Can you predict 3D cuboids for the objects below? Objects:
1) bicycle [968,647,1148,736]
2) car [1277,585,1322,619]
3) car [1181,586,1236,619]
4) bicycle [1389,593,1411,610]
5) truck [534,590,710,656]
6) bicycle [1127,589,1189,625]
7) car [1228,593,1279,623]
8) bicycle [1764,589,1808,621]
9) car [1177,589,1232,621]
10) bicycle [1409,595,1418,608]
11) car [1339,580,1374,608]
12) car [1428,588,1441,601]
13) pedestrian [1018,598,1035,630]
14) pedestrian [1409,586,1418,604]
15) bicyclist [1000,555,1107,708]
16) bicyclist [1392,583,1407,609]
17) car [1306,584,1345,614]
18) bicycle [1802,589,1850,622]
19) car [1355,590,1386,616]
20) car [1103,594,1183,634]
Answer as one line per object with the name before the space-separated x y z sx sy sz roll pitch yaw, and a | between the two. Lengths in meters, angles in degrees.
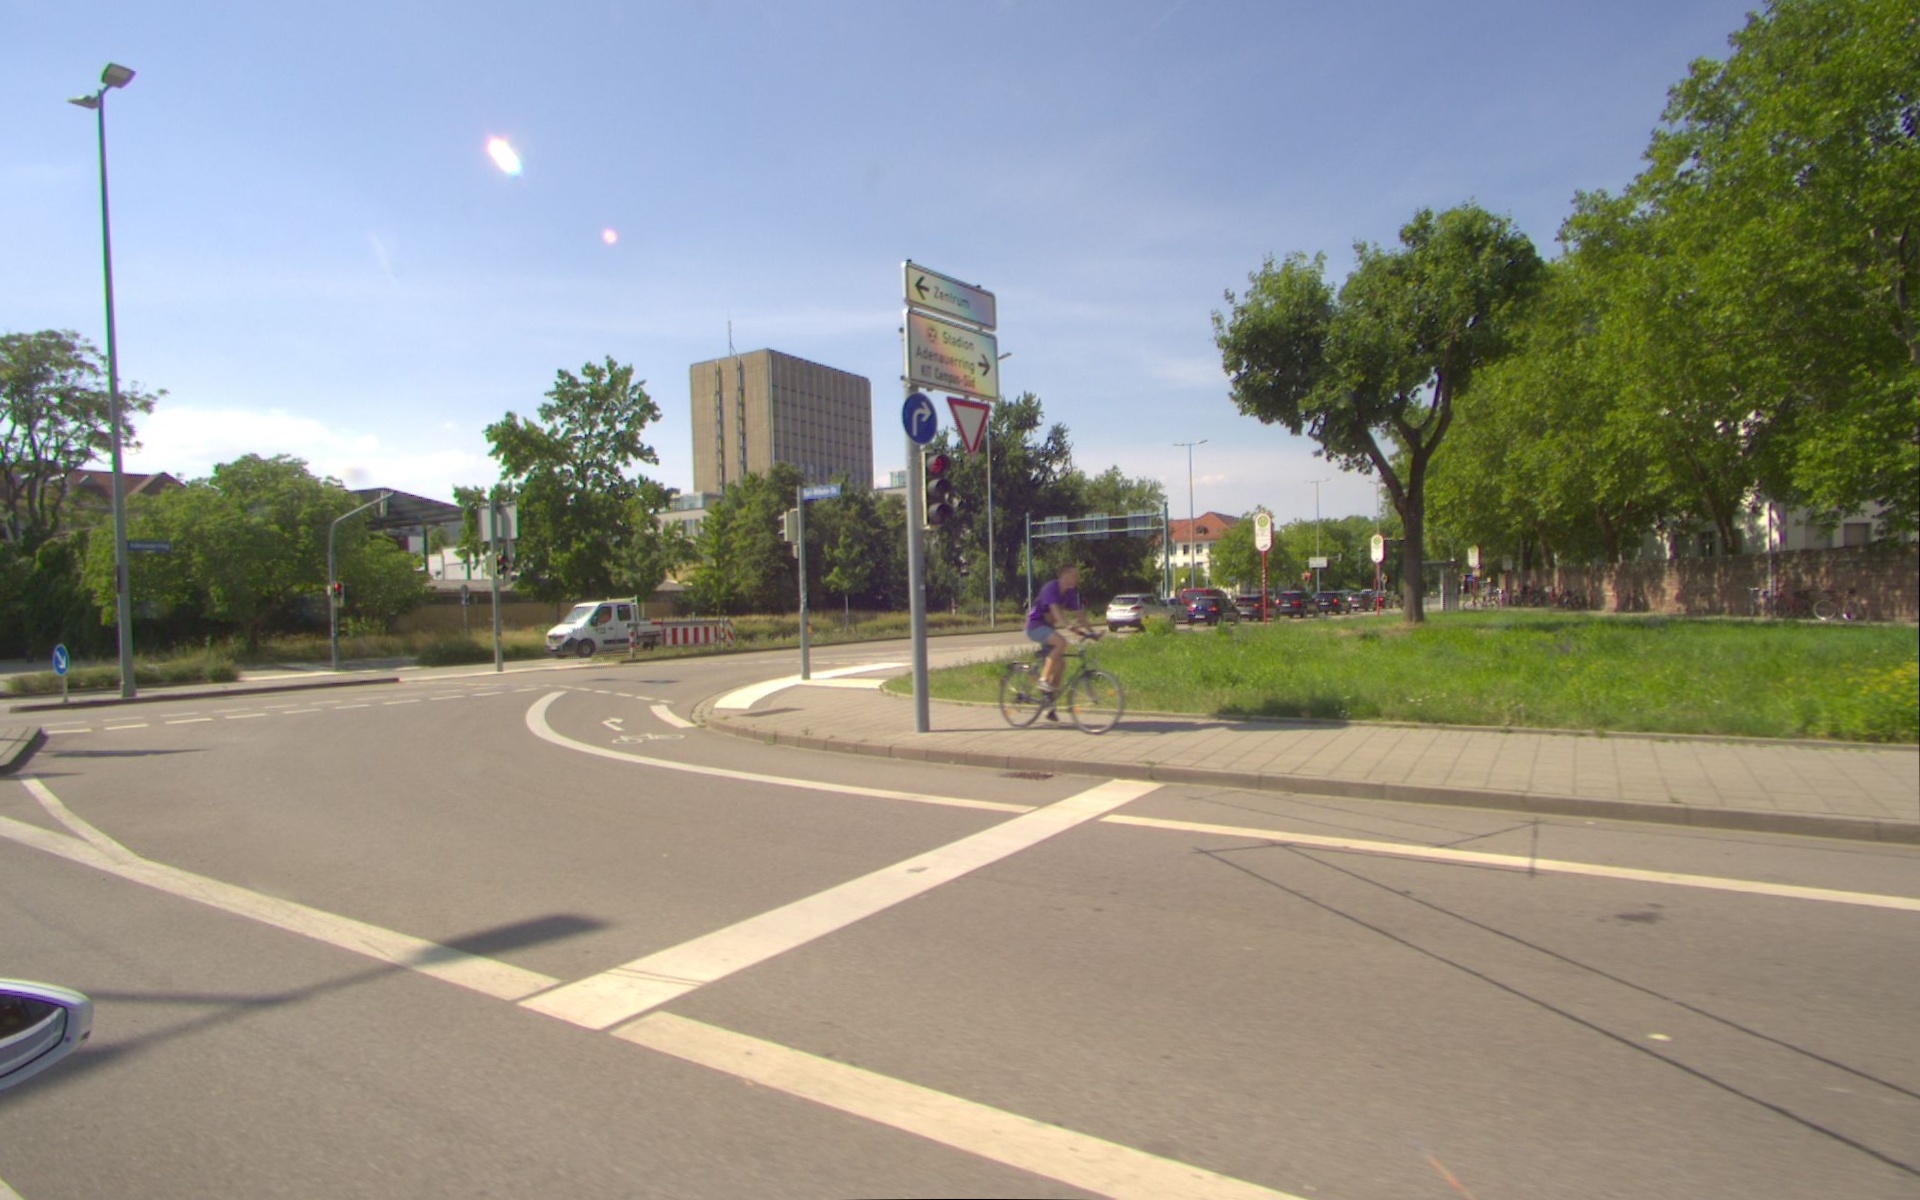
bicycle | 1.089 0.998 11.293 1.904 0.899 0.682 -2 1 31
car | 21.714 0.102 63.986 1.970 2.041 3.980 -1 1 30
car | 12.920 0.101 51.965 1.562 1.612 3.977 -1 1 33
bicycle | 35.037 0.140 79.694 0.838 1.233 3.462 -1 -2 37
truck | -14.084 0.901 42.298 2.380 2.386 7.007 -3 0 33
bicycle | 10.934 0.354 55.084 1.973 1.839 3.976 -2 0 34
car | 17.096 0.471 58.191 1.564 1.612 3.972 -1 1 37
bicycle | 28.378 0.164 34.410 0.439 1.047 1.447 -1 1 6
car | 14.802 0.283 60.428 1.950 1.821 4.587 -1 1 31
bicycle | 38.451 0.115 84.870 0.552 1.066 1.318 -1 1 30
car | 30.976 -0.476 78.154 1.970 2.041 3.980 -1 1 30
car | 80.086 -0.964 168.889 1.968 2.039 3.987 -1 -2 26
pedestrian | 5.409 1.160 81.669 0.941 2.566 1.118 -1 -1 33
pedestrian | 38.408 -0.414 84.813 0.552 1.458 0.729 -1 1 30
bicyclist | 1.056 0.349 11.337 1.068 1.659 0.486 -1 1 29
bicyclist | 35.001 -0.311 79.685 0.769 2.039 1.265 -1 -2 38
car | 26.072 -0.094 71.373 1.970 2.041 3.980 -1 1 30
bicycle | 28.204 0.172 32.633 0.439 1.047 1.447 -1 1 6
car | 34.428 0.300 83.943 1.970 2.039 3.984 -1 -2 29
car | 8.295 0.595 45.238 1.691 1.640 4.183 -1 1 40
